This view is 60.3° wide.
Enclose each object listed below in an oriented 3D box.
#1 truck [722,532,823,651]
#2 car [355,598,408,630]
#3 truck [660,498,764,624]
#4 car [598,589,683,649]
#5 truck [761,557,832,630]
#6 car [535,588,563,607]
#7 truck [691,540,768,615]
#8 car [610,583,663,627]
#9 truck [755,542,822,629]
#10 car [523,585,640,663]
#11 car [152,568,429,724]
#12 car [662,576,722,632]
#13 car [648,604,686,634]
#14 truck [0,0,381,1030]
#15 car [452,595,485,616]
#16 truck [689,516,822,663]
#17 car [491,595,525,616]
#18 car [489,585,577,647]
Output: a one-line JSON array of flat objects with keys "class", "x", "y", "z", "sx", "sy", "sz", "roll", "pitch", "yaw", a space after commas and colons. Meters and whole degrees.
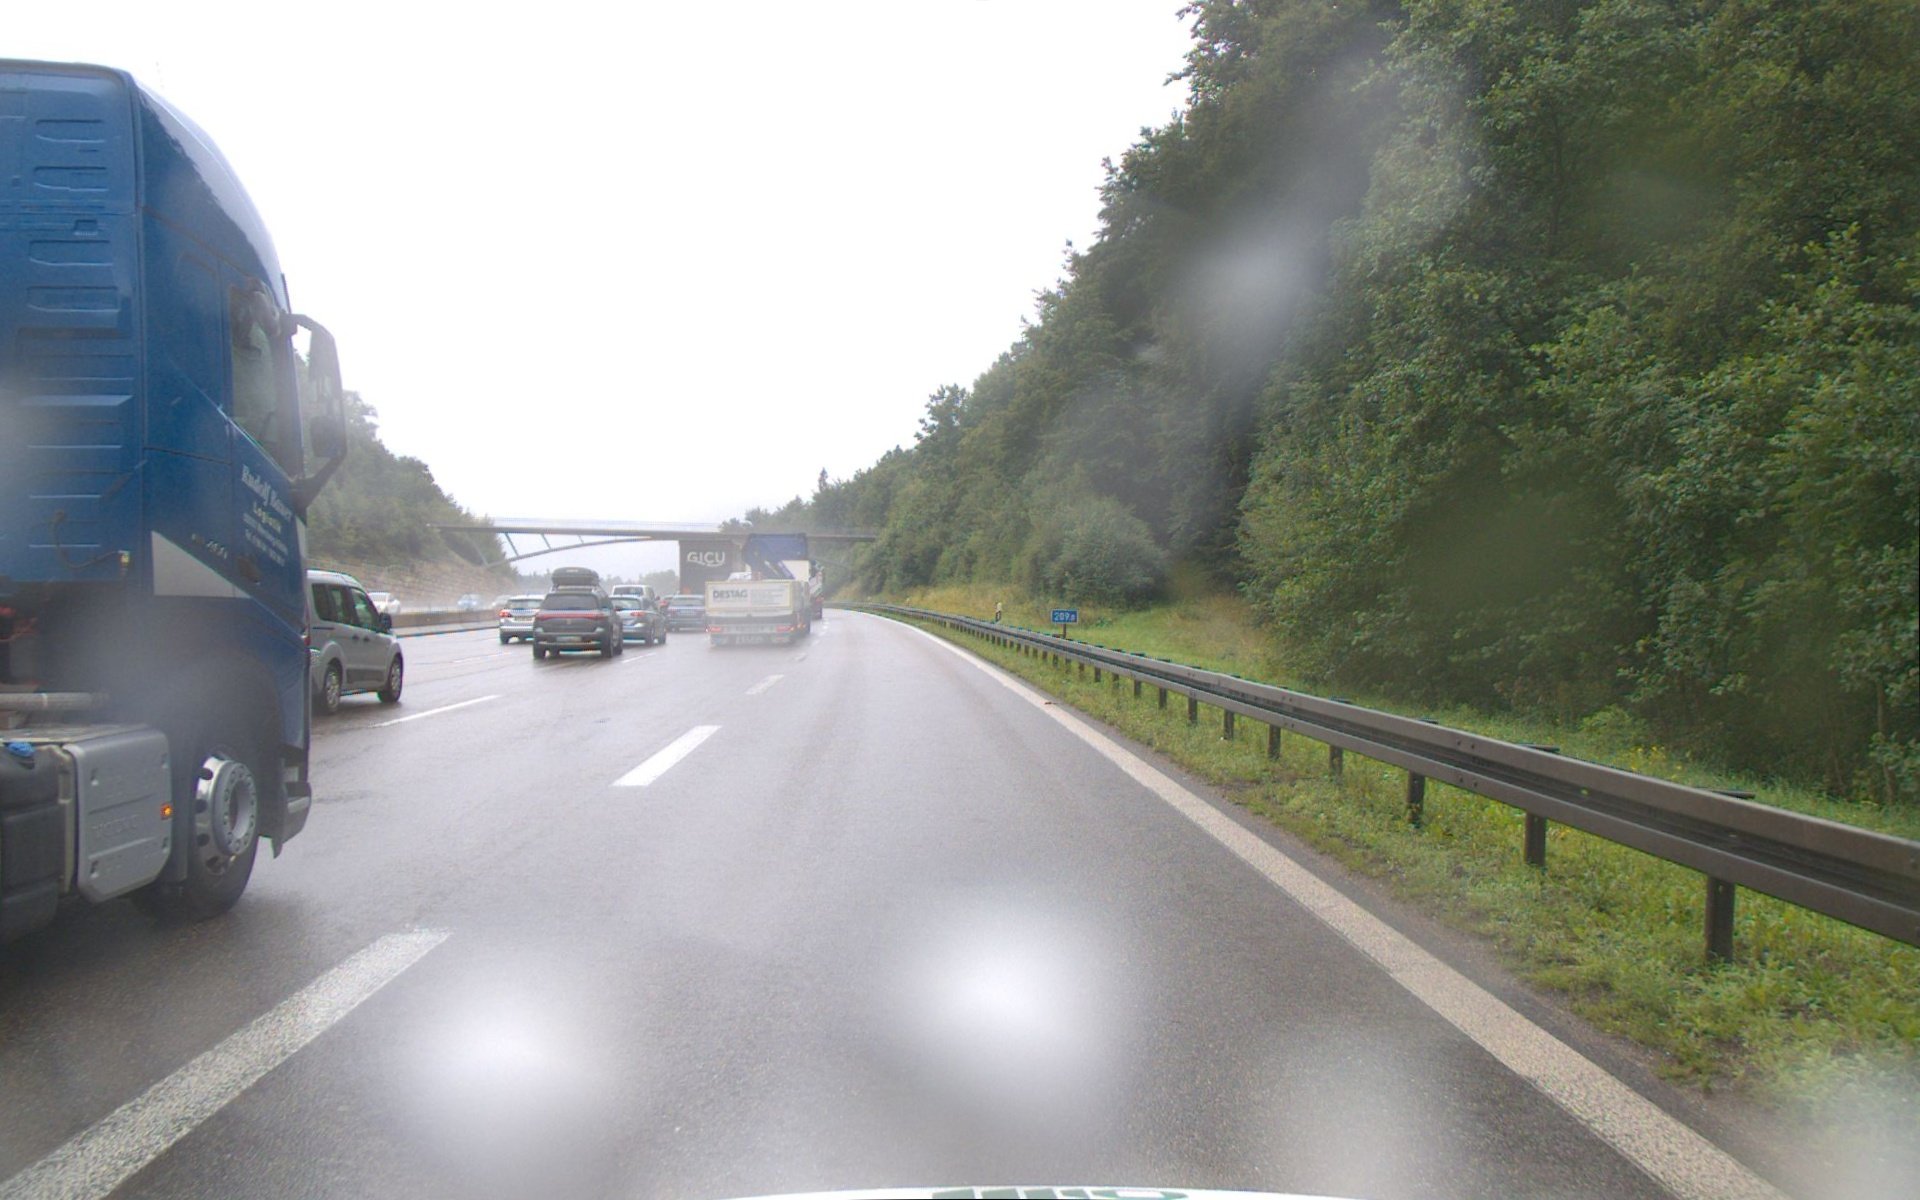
[{"class": "truck", "x": -7.682, "y": -0.196, "z": 69.191, "sx": 3.438, "sy": 4.342, "sz": 10.593, "roll": 4, "pitch": -2, "yaw": -4}, {"class": "car", "x": -34.858, "y": 0.801, "z": 99.692, "sx": 1.954, "sy": 1.862, "sz": 3.998, "roll": 0, "pitch": 0, "yaw": -3}, {"class": "truck", "x": -12.340, "y": -1.784, "z": 83.413, "sx": 3.679, "sy": 5.595, "sz": 10.167, "roll": 4, "pitch": -2, "yaw": -2}, {"class": "car", "x": -9.442, "y": 0.533, "z": 49.157, "sx": 1.899, "sy": 1.691, "sz": 3.998, "roll": 0, "pitch": 0, "yaw": -2}, {"class": "truck", "x": -10.114, "y": -0.288, "z": 103.527, "sx": 3.681, "sy": 4.040, "sz": 11.050, "roll": 4, "pitch": -2, "yaw": -3}, {"class": "car", "x": -41.644, "y": -0.292, "z": 167.569, "sx": 1.954, "sy": 1.862, "sz": 3.998, "roll": 0, "pitch": 0, "yaw": -3}, {"class": "truck", "x": -14.023, "y": -1.260, "z": 101.669, "sx": 3.504, "sy": 4.167, "sz": 10.874, "roll": 1, "pitch": -2, "yaw": -2}, {"class": "car", "x": -15.295, "y": 0.256, "z": 78.354, "sx": 1.807, "sy": 1.892, "sz": 3.997, "roll": 4, "pitch": -2, "yaw": -3}, {"class": "truck", "x": -12.640, "y": -0.916, "z": 122.846, "sx": 4.251, "sy": 5.864, "sz": 9.721, "roll": 4, "pitch": -2, "yaw": -4}, {"class": "car", "x": -9.043, "y": 0.608, "z": 39.851, "sx": 1.954, "sy": 1.665, "sz": 3.997, "roll": 4, "pitch": -2, "yaw": -2}, {"class": "car", "x": -8.544, "y": 0.520, "z": 21.581, "sx": 1.808, "sy": 1.781, "sz": 4.566, "roll": -1, "pitch": 0, "yaw": -1}, {"class": "car", "x": -10.782, "y": 0.203, "z": 66.676, "sx": 1.757, "sy": 2.049, "sz": 3.998, "roll": 4, "pitch": -2, "yaw": -2}, {"class": "car", "x": -17.728, "y": 1.173, "z": 100.202, "sx": 1.815, "sy": 1.691, "sz": 3.995, "roll": 4, "pitch": -2, "yaw": -5}, {"class": "truck", "x": -4.518, "y": -0.513, "z": 6.505, "sx": 2.819, "sy": 3.758, "sz": 5.054, "roll": 0, "pitch": 0, "yaw": -2}, {"class": "car", "x": -43.527, "y": 0.515, "z": 146.532, "sx": 1.954, "sy": 1.816, "sz": 3.998, "roll": 0, "pitch": 0, "yaw": -3}, {"class": "truck", "x": -6.342, "y": -0.324, "z": 53.162, "sx": 3.529, "sy": 4.177, "sz": 11.551, "roll": 0, "pitch": 0, "yaw": -4}, {"class": "car", "x": -38.390, "y": 0.453, "z": 140.453, "sx": 1.954, "sy": 1.738, "sz": 3.997, "roll": 0, "pitch": 0, "yaw": -3}, {"class": "car", "x": -13.615, "y": 0.544, "z": 52.939, "sx": 1.750, "sy": 1.777, "sz": 3.998, "roll": 4, "pitch": -2, "yaw": -1}]
